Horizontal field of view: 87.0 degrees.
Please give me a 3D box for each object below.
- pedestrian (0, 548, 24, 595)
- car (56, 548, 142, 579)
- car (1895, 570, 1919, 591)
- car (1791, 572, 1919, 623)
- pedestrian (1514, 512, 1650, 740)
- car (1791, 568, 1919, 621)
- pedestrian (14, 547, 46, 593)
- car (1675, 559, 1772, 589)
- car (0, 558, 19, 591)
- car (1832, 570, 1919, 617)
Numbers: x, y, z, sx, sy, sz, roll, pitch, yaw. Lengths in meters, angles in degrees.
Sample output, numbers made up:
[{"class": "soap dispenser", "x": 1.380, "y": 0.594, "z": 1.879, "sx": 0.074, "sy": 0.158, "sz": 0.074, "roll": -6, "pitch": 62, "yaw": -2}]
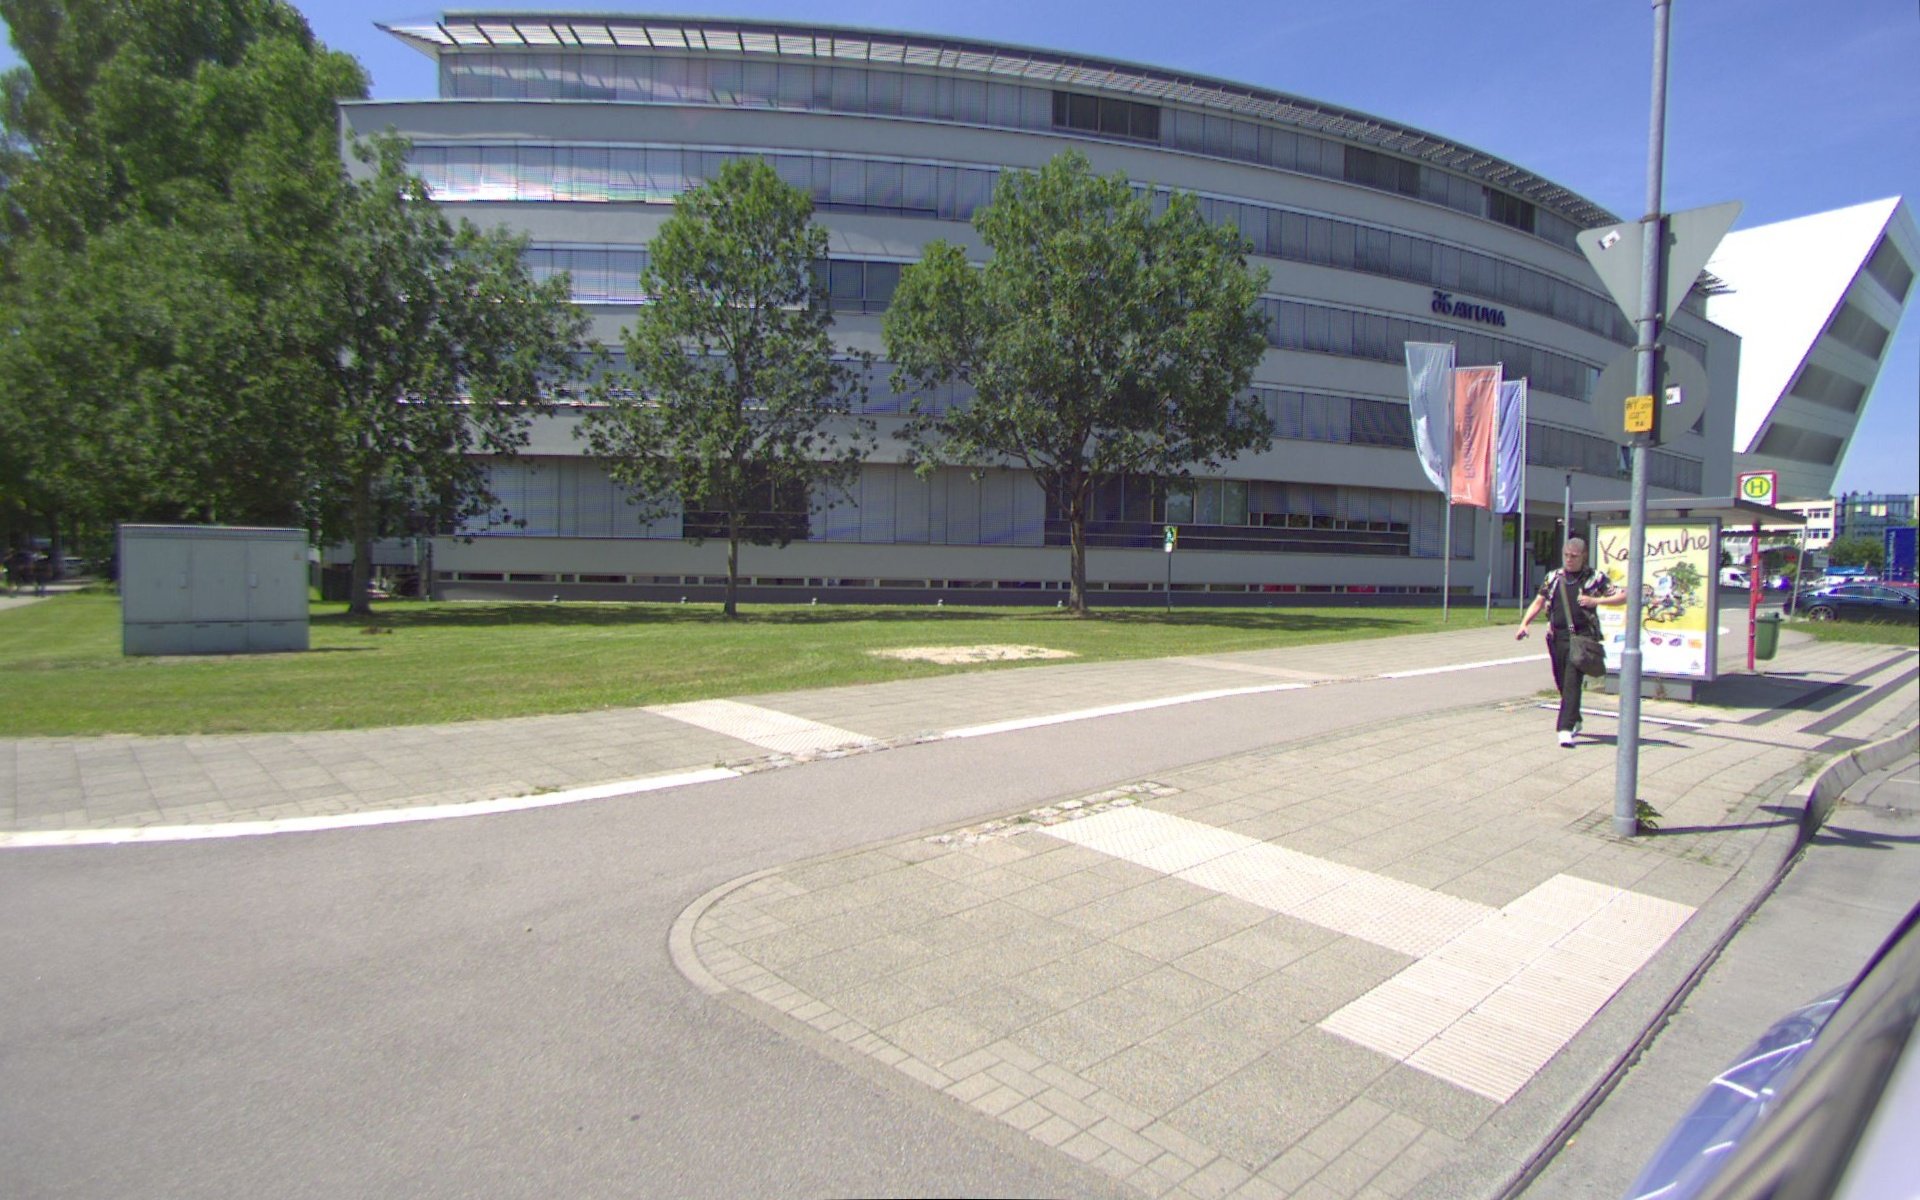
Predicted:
[{"class": "pedestrian", "x": -33.552, "y": -0.995, "z": 35.728, "sx": 0.478, "sy": 1.637, "sz": 0.587, "roll": 0, "pitch": 1, "yaw": 7}, {"class": "car", "x": -57.163, "y": -2.438, "z": 67.264, "sx": 3.919, "sy": 2.039, "sz": 2.003, "roll": 0, "pitch": 1, "yaw": -7}, {"class": "car", "x": 99.845, "y": -1.989, "z": 103.041, "sx": 2.124, "sy": 2.176, "sz": 6.499, "roll": -1, "pitch": 1, "yaw": -36}, {"class": "car", "x": 29.786, "y": -0.080, "z": 32.508, "sx": 1.798, "sy": 1.449, "sz": 4.572, "roll": -1, "pitch": 5, "yaw": -44}, {"class": "pedestrian", "x": 5.341, "y": 0.184, "z": 8.694, "sx": 0.812, "sy": 1.844, "sz": 0.709, "roll": -1, "pitch": 4, "yaw": -42}, {"class": "car", "x": 31.326, "y": -0.219, "z": 34.783, "sx": 1.807, "sy": 1.675, "sz": 3.996, "roll": -1, "pitch": 3, "yaw": -40}, {"class": "pedestrian", "x": -33.422, "y": -1.082, "z": 36.372, "sx": 0.635, "sy": 1.628, "sz": 0.569, "roll": 0, "pitch": 1, "yaw": 16}, {"class": "car", "x": 71.872, "y": -2.406, "z": 95.358, "sx": 2.210, "sy": 2.695, "sz": 6.976, "roll": -1, "pitch": 1, "yaw": -32}, {"class": "car", "x": -45.498, "y": -1.170, "z": 46.204, "sx": 3.622, "sy": 1.501, "sz": 1.866, "roll": -1, "pitch": 2, "yaw": -42}, {"class": "car", "x": 35.090, "y": -0.214, "z": 37.231, "sx": 1.755, "sy": 1.582, "sz": 4.330, "roll": -1, "pitch": 4, "yaw": -41}]
